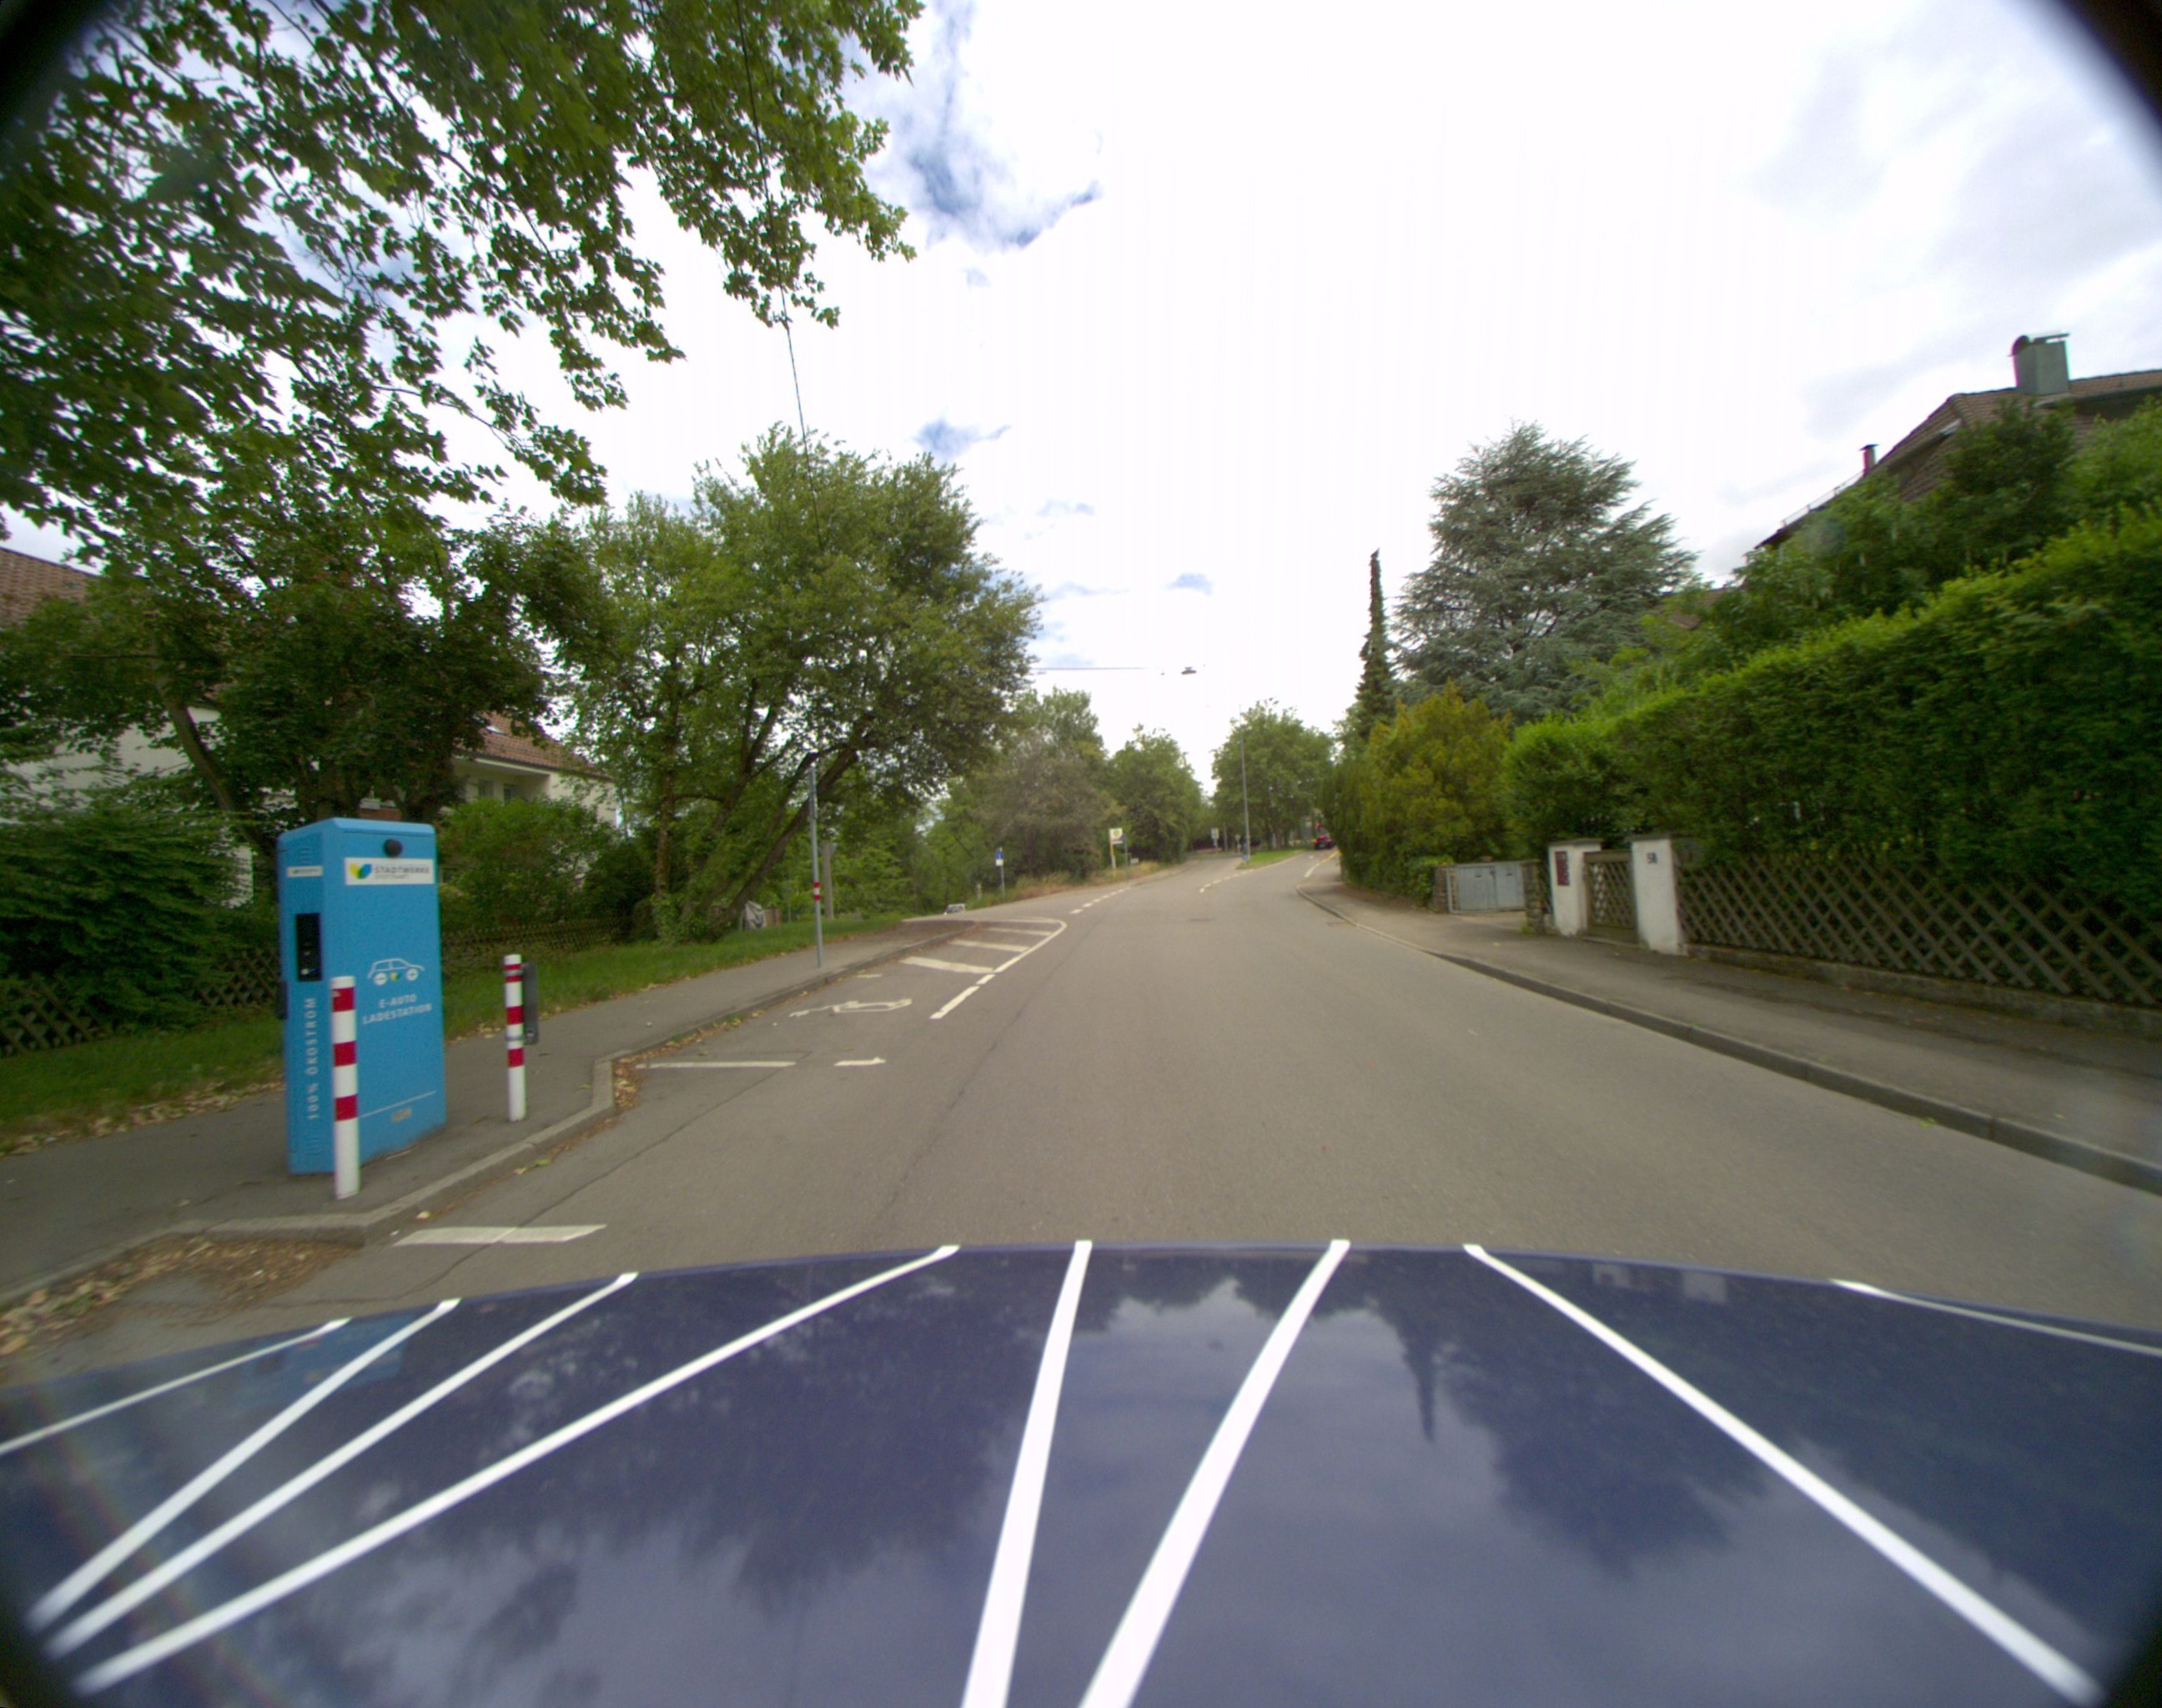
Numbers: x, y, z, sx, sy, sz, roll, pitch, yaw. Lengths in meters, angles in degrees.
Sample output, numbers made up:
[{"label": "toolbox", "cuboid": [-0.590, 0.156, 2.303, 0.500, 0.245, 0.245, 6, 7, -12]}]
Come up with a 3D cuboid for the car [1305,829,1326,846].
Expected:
[{"label": "car", "cuboid": [28.997, -2.046, 93.931, 1.759, 1.583, 4.617, -6, 3, 25]}]

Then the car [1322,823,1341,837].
[{"label": "car", "cuboid": [33.849, -3.182, 102.652, 1.853, 1.648, 4.914, -6, -1, 24]}]
